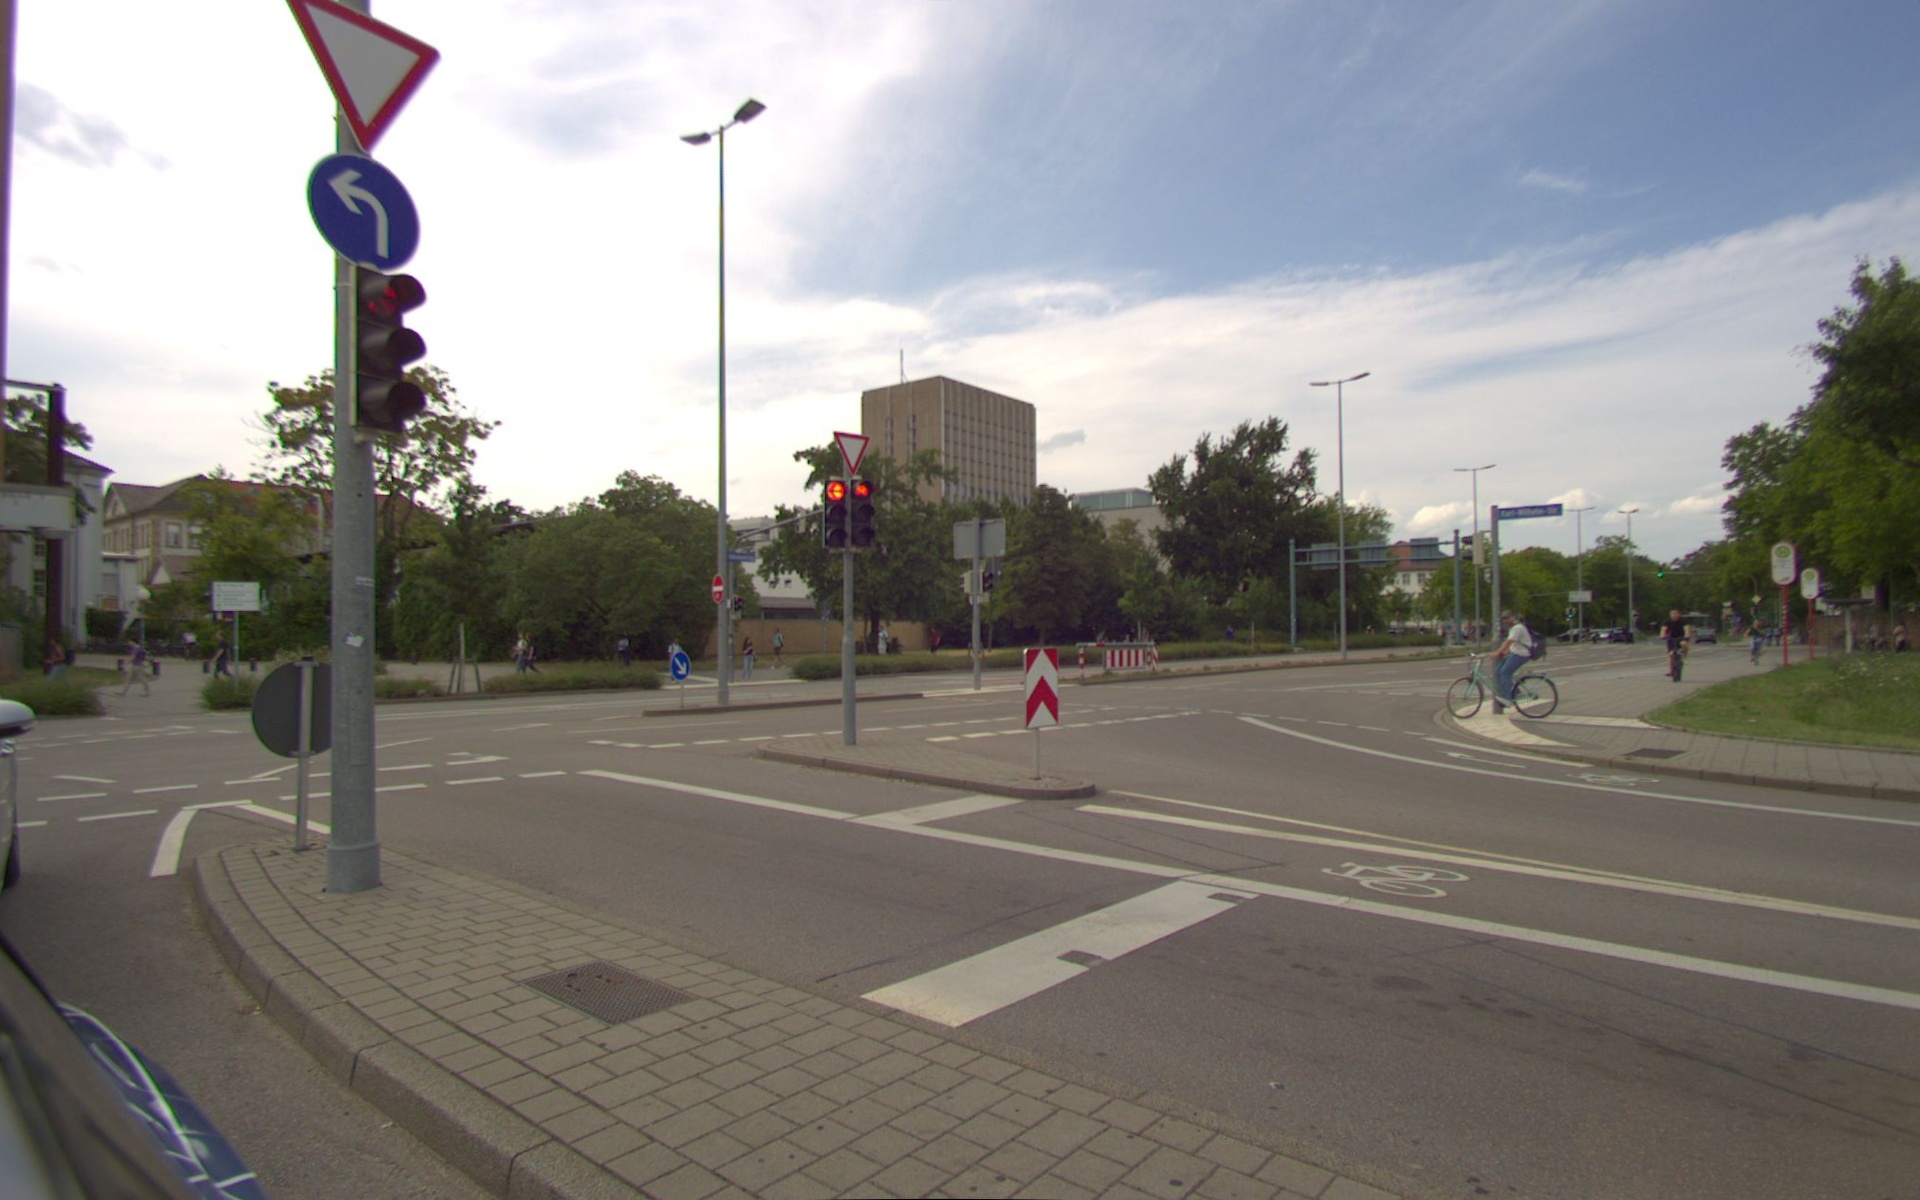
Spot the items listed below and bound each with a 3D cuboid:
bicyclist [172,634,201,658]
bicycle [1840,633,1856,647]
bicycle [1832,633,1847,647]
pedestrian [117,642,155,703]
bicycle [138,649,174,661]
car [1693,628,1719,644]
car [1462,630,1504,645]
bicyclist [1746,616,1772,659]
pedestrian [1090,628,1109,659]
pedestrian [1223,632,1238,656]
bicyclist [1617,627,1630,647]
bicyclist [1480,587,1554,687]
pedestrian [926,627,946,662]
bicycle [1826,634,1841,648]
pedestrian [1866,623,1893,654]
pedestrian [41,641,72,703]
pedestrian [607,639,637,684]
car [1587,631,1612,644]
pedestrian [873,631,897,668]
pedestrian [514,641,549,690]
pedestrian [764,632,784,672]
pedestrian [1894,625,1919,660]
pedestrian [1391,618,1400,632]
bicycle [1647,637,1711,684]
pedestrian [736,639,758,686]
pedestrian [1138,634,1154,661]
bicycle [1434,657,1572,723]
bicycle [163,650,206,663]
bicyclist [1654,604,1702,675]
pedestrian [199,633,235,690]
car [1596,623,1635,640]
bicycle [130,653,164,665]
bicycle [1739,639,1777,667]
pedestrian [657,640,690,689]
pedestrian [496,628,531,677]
[{"bbox_3d":[-43.234,2.592,56.573,0.830,1.287,1.009,-3,-3,10],"label":"bicyclist"},{"bbox_3d":[58.227,2.640,66.332,0.432,0.894,1.559,-6,-5,31],"label":"bicycle"},{"bbox_3d":[58.996,2.687,67.870,0.432,0.894,1.559,-6,-5,31],"label":"bicycle"},{"bbox_3d":[-23.828,2.097,29.269,0.788,1.724,0.840,1,-4,-44],"label":"pedestrian"},{"bbox_3d":[-51.803,3.544,65.207,1.816,0.699,0.653,0,-4,-40],"label":"bicycle"},{"bbox_3d":[77.159,3.747,104.672,1.700,1.492,4.354,-5,-4,42],"label":"car"},{"bbox_3d":[57.525,4.122,111.397,1.759,1.501,4.143,1,0,-17],"label":"car"},{"bbox_3d":[29.746,1.401,37.677,0.784,1.567,0.496,-2,-1,-34],"label":"bicyclist"},{"bbox_3d":[7.940,2.475,57.462,0.683,1.724,0.735,1,-4,-44],"label":"pedestrian"},{"bbox_3d":[20.048,3.240,75.006,0.714,1.724,0.685,-5,-4,42],"label":"pedestrian"},{"bbox_3d":[58.708,3.257,89.574,1.070,1.724,0.779,3,-2,-45],"label":"bicyclist"},{"bbox_3d":[9.040,0.595,16.438,0.786,1.567,0.580,-2,-1,-4],"label":"bicyclist"},{"bbox_3d":[-1.207,2.237,50.781,0.714,1.724,0.685,-5,-4,42],"label":"pedestrian"},{"bbox_3d":[59.953,2.824,69.479,0.432,0.894,1.559,-6,-5,31],"label":"bicycle"},{"bbox_3d":[49.901,2.095,54.923,0.749,1.634,0.661,-3,-3,19],"label":"pedestrian"},{"bbox_3d":[-25.569,2.030,28.636,0.624,1.724,0.674,1,-4,-44],"label":"pedestrian"},{"bbox_3d":[-13.142,2.395,39.359,0.714,1.724,0.789,-5,-4,39],"label":"pedestrian"},{"bbox_3d":[75.650,4.427,119.691,1.790,1.501,4.072,0,-1,42],"label":"car"},{"bbox_3d":[-3.592,2.355,48.444,0.841,1.724,0.686,-5,-4,39],"label":"pedestrian"},{"bbox_3d":[-15.386,2.357,36.346,0.835,1.724,0.792,-4,-3,27],"label":"pedestrian"},{"bbox_3d":[-8.105,2.257,44.073,0.544,1.709,0.686,0,-1,39],"label":"pedestrian"},{"bbox_3d":[45.156,2.017,48.135,0.749,1.634,0.661,-3,-3,19],"label":"pedestrian"},{"bbox_3d":[53.274,3.072,123.831,0.769,1.724,0.685,-5,-4,42],"label":"pedestrian"},{"bbox_3d":[16.385,1.355,23.059,1.939,0.943,0.507,-2,-1,-34],"label":"bicycle"},{"bbox_3d":[-7.888,2.315,37.424,0.579,1.724,0.482,1,-4,-42],"label":"pedestrian"},{"bbox_3d":[12.107,3.104,65.896,0.714,1.724,0.685,-5,-4,42],"label":"pedestrian"},{"bbox_3d":[8.790,1.443,16.411,1.942,0.943,0.506,-2,-1,-4],"label":"bicycle"},{"bbox_3d":[-43.232,3.158,56.436,0.834,0.699,1.839,-3,-3,9],"label":"bicycle"},{"bbox_3d":[16.366,0.884,23.064,0.784,1.567,0.581,-2,-1,-34],"label":"bicyclist"},{"bbox_3d":[-23.026,1.911,31.362,0.788,1.724,0.840,1,-4,-44],"label":"pedestrian"},{"bbox_3d":[61.195,2.952,94.549,1.772,1.501,4.113,0,0,12],"label":"car"},{"bbox_3d":[-55.244,4.002,68.758,1.816,0.699,0.653,0,-4,-40],"label":"bicycle"},{"bbox_3d":[29.673,1.954,37.612,1.939,0.943,0.507,-2,-1,-34],"label":"bicycle"},{"bbox_3d":[-10.240,2.309,36.193,0.827,1.724,0.801,0,-4,-42],"label":"pedestrian"},{"bbox_3d":[-16.211,1.908,36.748,0.835,1.724,0.792,-4,-3,27],"label":"pedestrian"}]
